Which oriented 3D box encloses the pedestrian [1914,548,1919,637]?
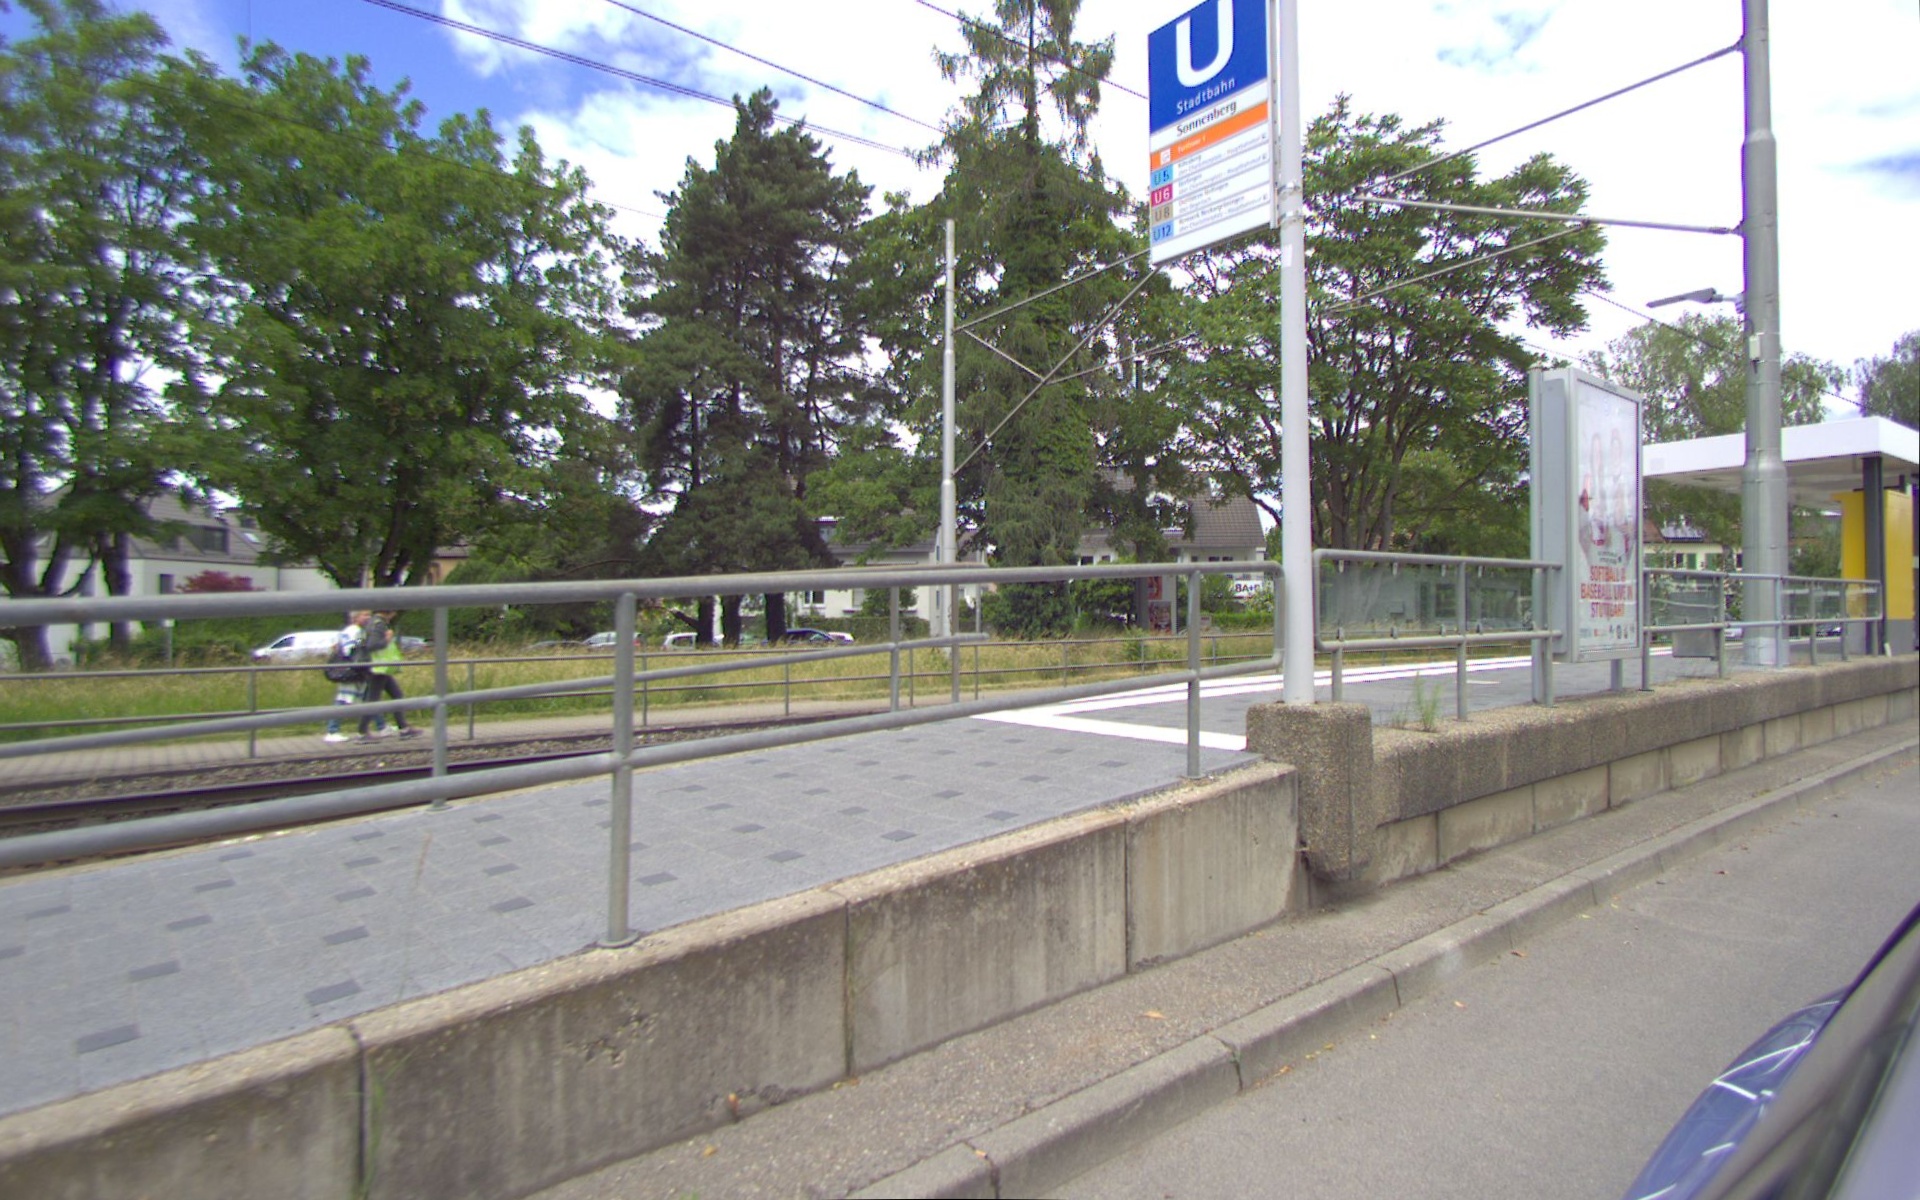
[{"bbox_3d":[14.839,-0.114,15.150,0.678,1.328,0.655,0,-1,-34],"label":"pedestrian"}]

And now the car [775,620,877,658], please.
[{"bbox_3d":[-5.593,1.591,42.201,3.916,1.458,1.799,0,-1,-22],"label":"car"}]

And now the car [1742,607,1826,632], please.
[{"bbox_3d":[49.938,1.177,61.369,3.916,1.453,2.003,0,-1,-15],"label":"car"}]

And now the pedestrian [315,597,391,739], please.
[{"bbox_3d":[-6.980,0.756,11.637,0.680,1.581,0.493,0,-2,-40],"label":"pedestrian"}]

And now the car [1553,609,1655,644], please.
[{"bbox_3d":[27.124,1.087,42.612,3.920,1.366,2.002,0,-1,-30],"label":"car"}]

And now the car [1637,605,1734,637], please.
[{"bbox_3d":[31.959,0.912,44.573,3.920,1.366,2.002,0,-1,-30],"label":"car"}]

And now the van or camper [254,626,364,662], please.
[{"bbox_3d":[-32.349,2.169,50.333,4.251,1.672,1.998,-1,-1,3],"label":"van or camper"}]

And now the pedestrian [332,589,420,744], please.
[{"bbox_3d":[-6.474,0.708,11.223,0.776,1.643,0.493,0,-2,-40],"label":"pedestrian"}]
